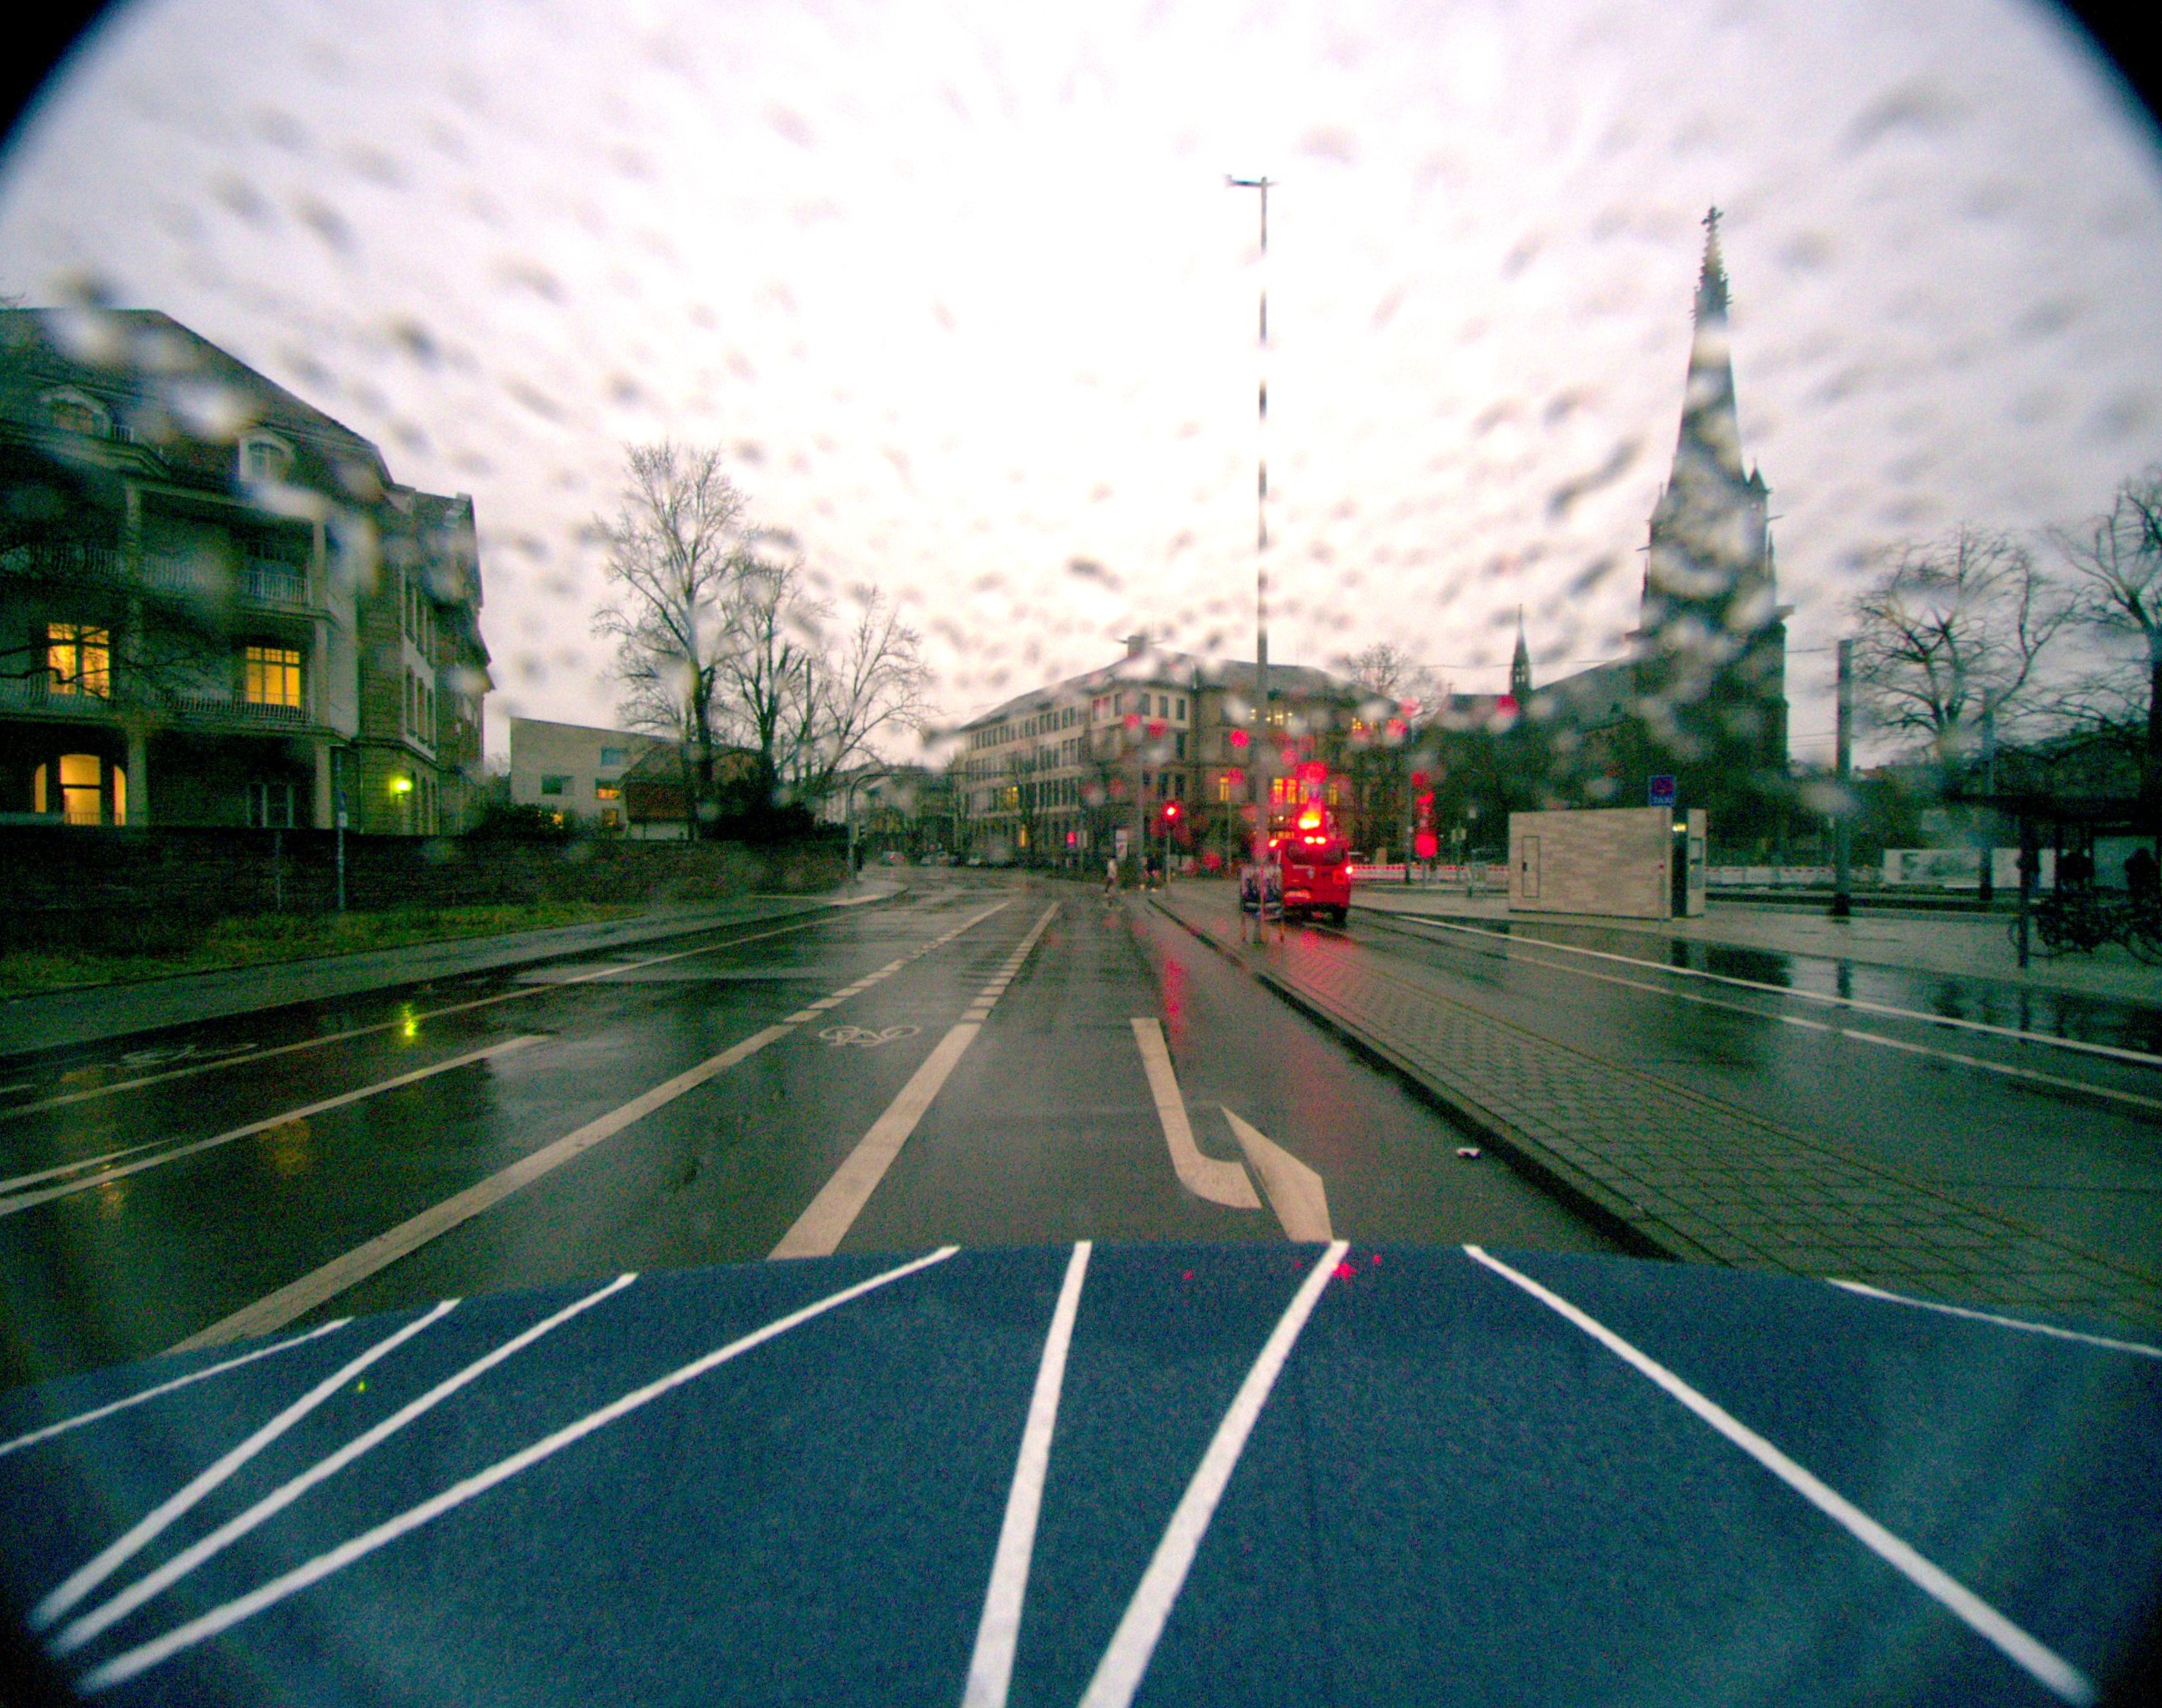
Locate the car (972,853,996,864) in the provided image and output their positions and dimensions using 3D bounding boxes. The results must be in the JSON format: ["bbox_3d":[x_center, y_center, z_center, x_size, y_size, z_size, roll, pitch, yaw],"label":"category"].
[{"bbox_3d":[-12.138,0.570,95.314,1.706,1.298,3.647,-2,1,16],"label":"car"}]

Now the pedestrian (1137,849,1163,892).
[{"bbox_3d":[3.051,0.716,33.619,1.000,1.890,0.673,1,1,-11],"label":"pedestrian"}]

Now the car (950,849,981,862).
[{"bbox_3d":[-15.095,0.195,99.413,1.797,1.541,4.007,-2,1,28],"label":"car"}]

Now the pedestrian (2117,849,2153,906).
[{"bbox_3d":[31.051,0.691,22.397,0.541,1.642,0.562,-3,2,-41],"label":"pedestrian"}]

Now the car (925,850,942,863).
[{"bbox_3d":[-20.740,0.366,106.852,2.000,1.660,3.997,-2,1,-7],"label":"car"}]

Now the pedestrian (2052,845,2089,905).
[{"bbox_3d":[30.239,0.642,23.226,0.673,1.785,0.626,-3,2,-41],"label":"pedestrian"}]

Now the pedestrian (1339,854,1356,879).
[{"bbox_3d":[19.242,0.892,54.819,0.675,1.806,0.895,0,2,-44],"label":"pedestrian"}]

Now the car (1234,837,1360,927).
[{"bbox_3d":[5.473,0.656,19.932,1.929,2.058,4.643,1,0,0],"label":"car"}]

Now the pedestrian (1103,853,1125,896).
[{"bbox_3d":[1.321,0.826,30.834,0.798,1.713,0.674,1,1,-3],"label":"pedestrian"}]

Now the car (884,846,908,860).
[{"bbox_3d":[-25.126,-0.102,103.079,1.887,1.835,3.990,-3,1,-34],"label":"car"}]

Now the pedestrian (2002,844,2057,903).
[{"bbox_3d":[29.353,0.586,23.518,0.669,1.785,0.827,-2,1,2],"label":"pedestrian"}]

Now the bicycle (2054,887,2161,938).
[{"bbox_3d":[20.852,1.160,15.027,0.475,0.905,1.921,-2,2,-30],"label":"bicycle"}]

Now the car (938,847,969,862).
[{"bbox_3d":[-16.999,0.070,101.478,2.043,1.889,4.007,-2,1,28],"label":"car"}]

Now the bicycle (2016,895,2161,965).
[{"bbox_3d":[16.621,1.213,12.226,0.475,0.980,1.921,-2,2,-30],"label":"bicycle"}]

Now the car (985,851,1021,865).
[{"bbox_3d":[-9.282,0.476,90.543,1.797,1.541,4.007,-1,1,45],"label":"car"}]

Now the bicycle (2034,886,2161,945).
[{"bbox_3d":[19.696,1.168,14.437,0.475,0.980,1.921,-2,2,-30],"label":"bicycle"}]

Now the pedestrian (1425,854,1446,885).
[{"bbox_3d":[22.595,0.976,48.443,0.675,1.890,0.971,0,1,-34],"label":"pedestrian"}]

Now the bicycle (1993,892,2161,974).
[{"bbox_3d":[15.503,1.180,11.621,0.475,1.064,1.921,-2,2,-30],"label":"bicycle"}]

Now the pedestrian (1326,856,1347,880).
[{"bbox_3d":[17.895,0.970,53.259,0.774,1.651,1.206,-3,1,-15],"label":"pedestrian"}]
